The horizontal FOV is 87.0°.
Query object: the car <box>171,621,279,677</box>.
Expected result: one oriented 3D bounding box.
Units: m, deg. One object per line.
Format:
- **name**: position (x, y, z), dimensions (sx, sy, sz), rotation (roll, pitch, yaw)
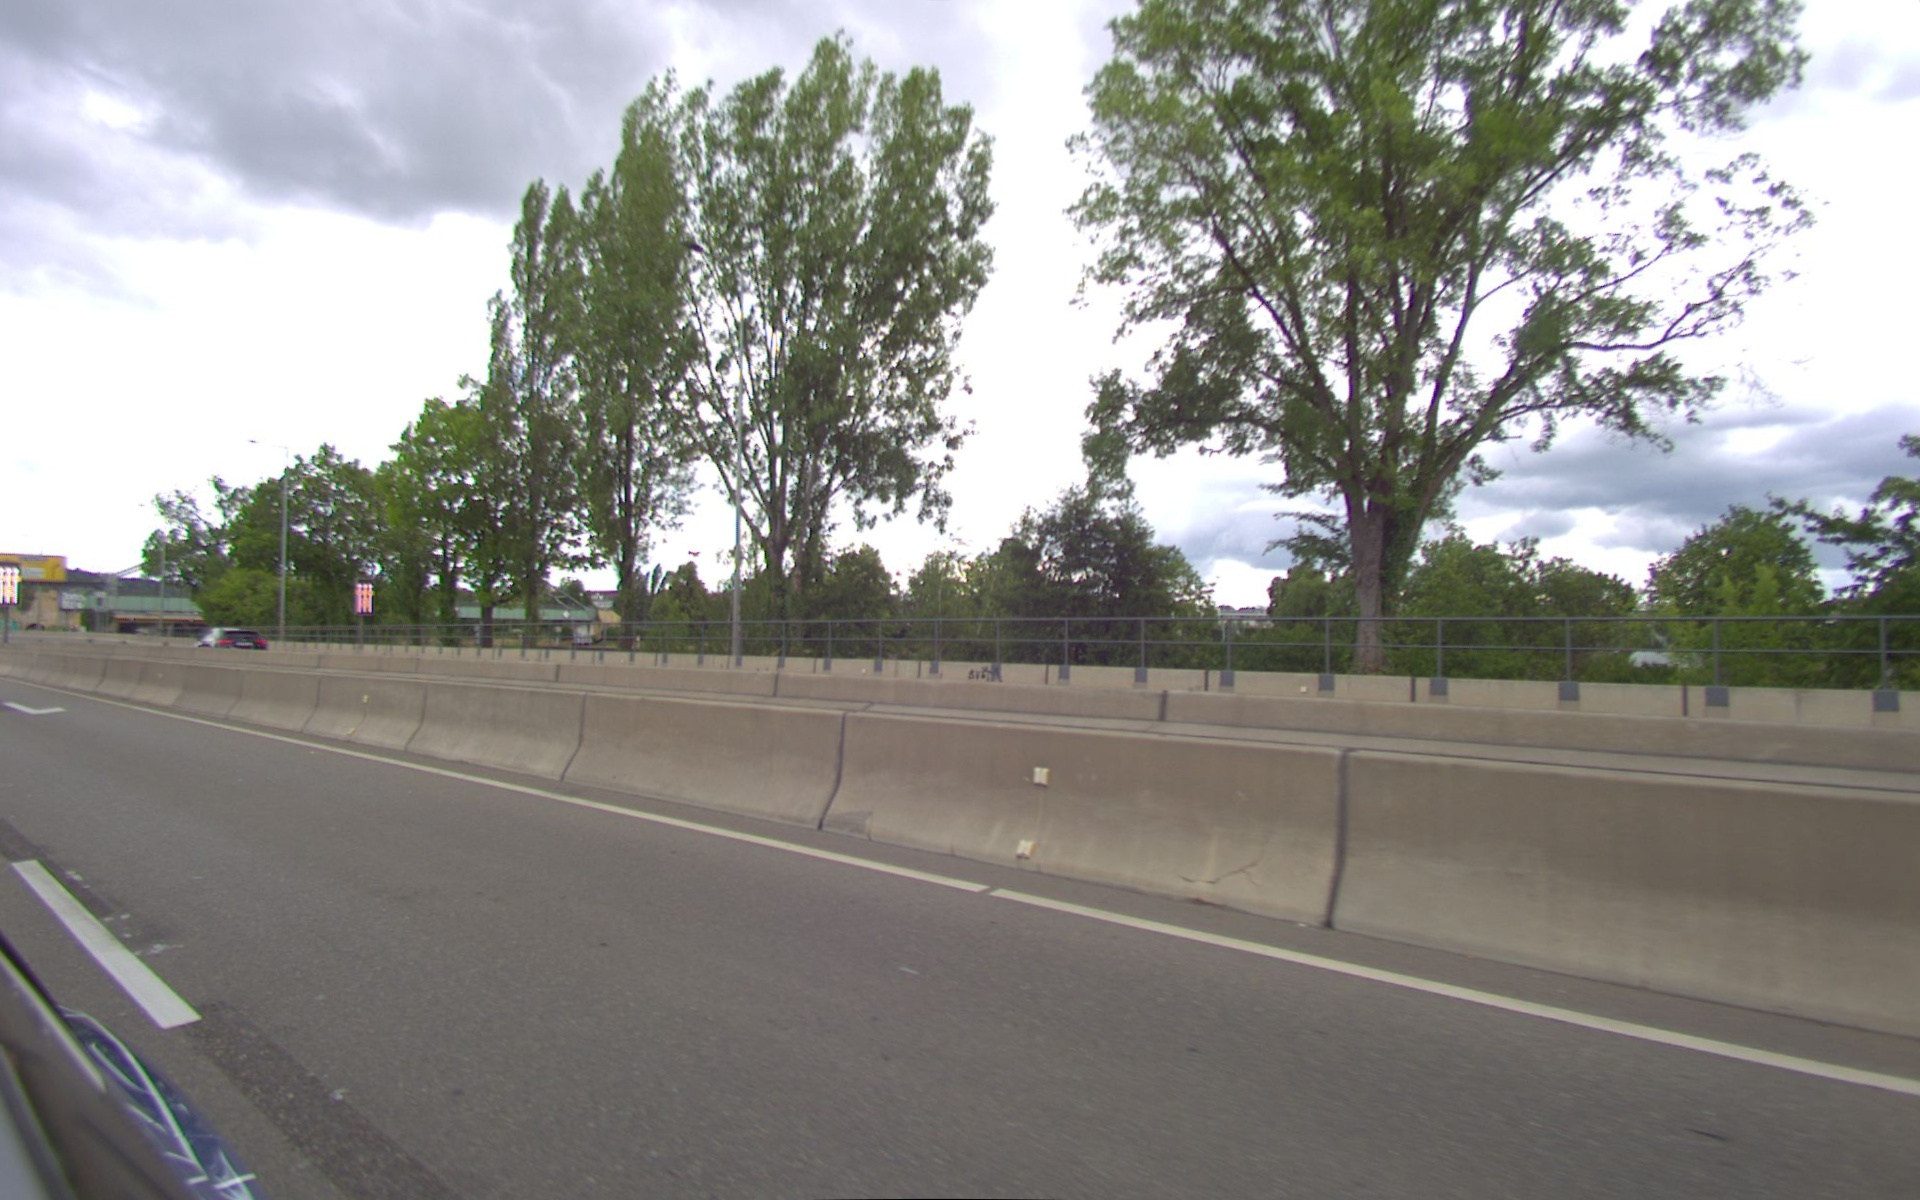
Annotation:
- **car**: position (-28.306, 1.805, 38.923), dimensions (5.000, 1.940, 2.305), rotation (-1, 0, 41)
